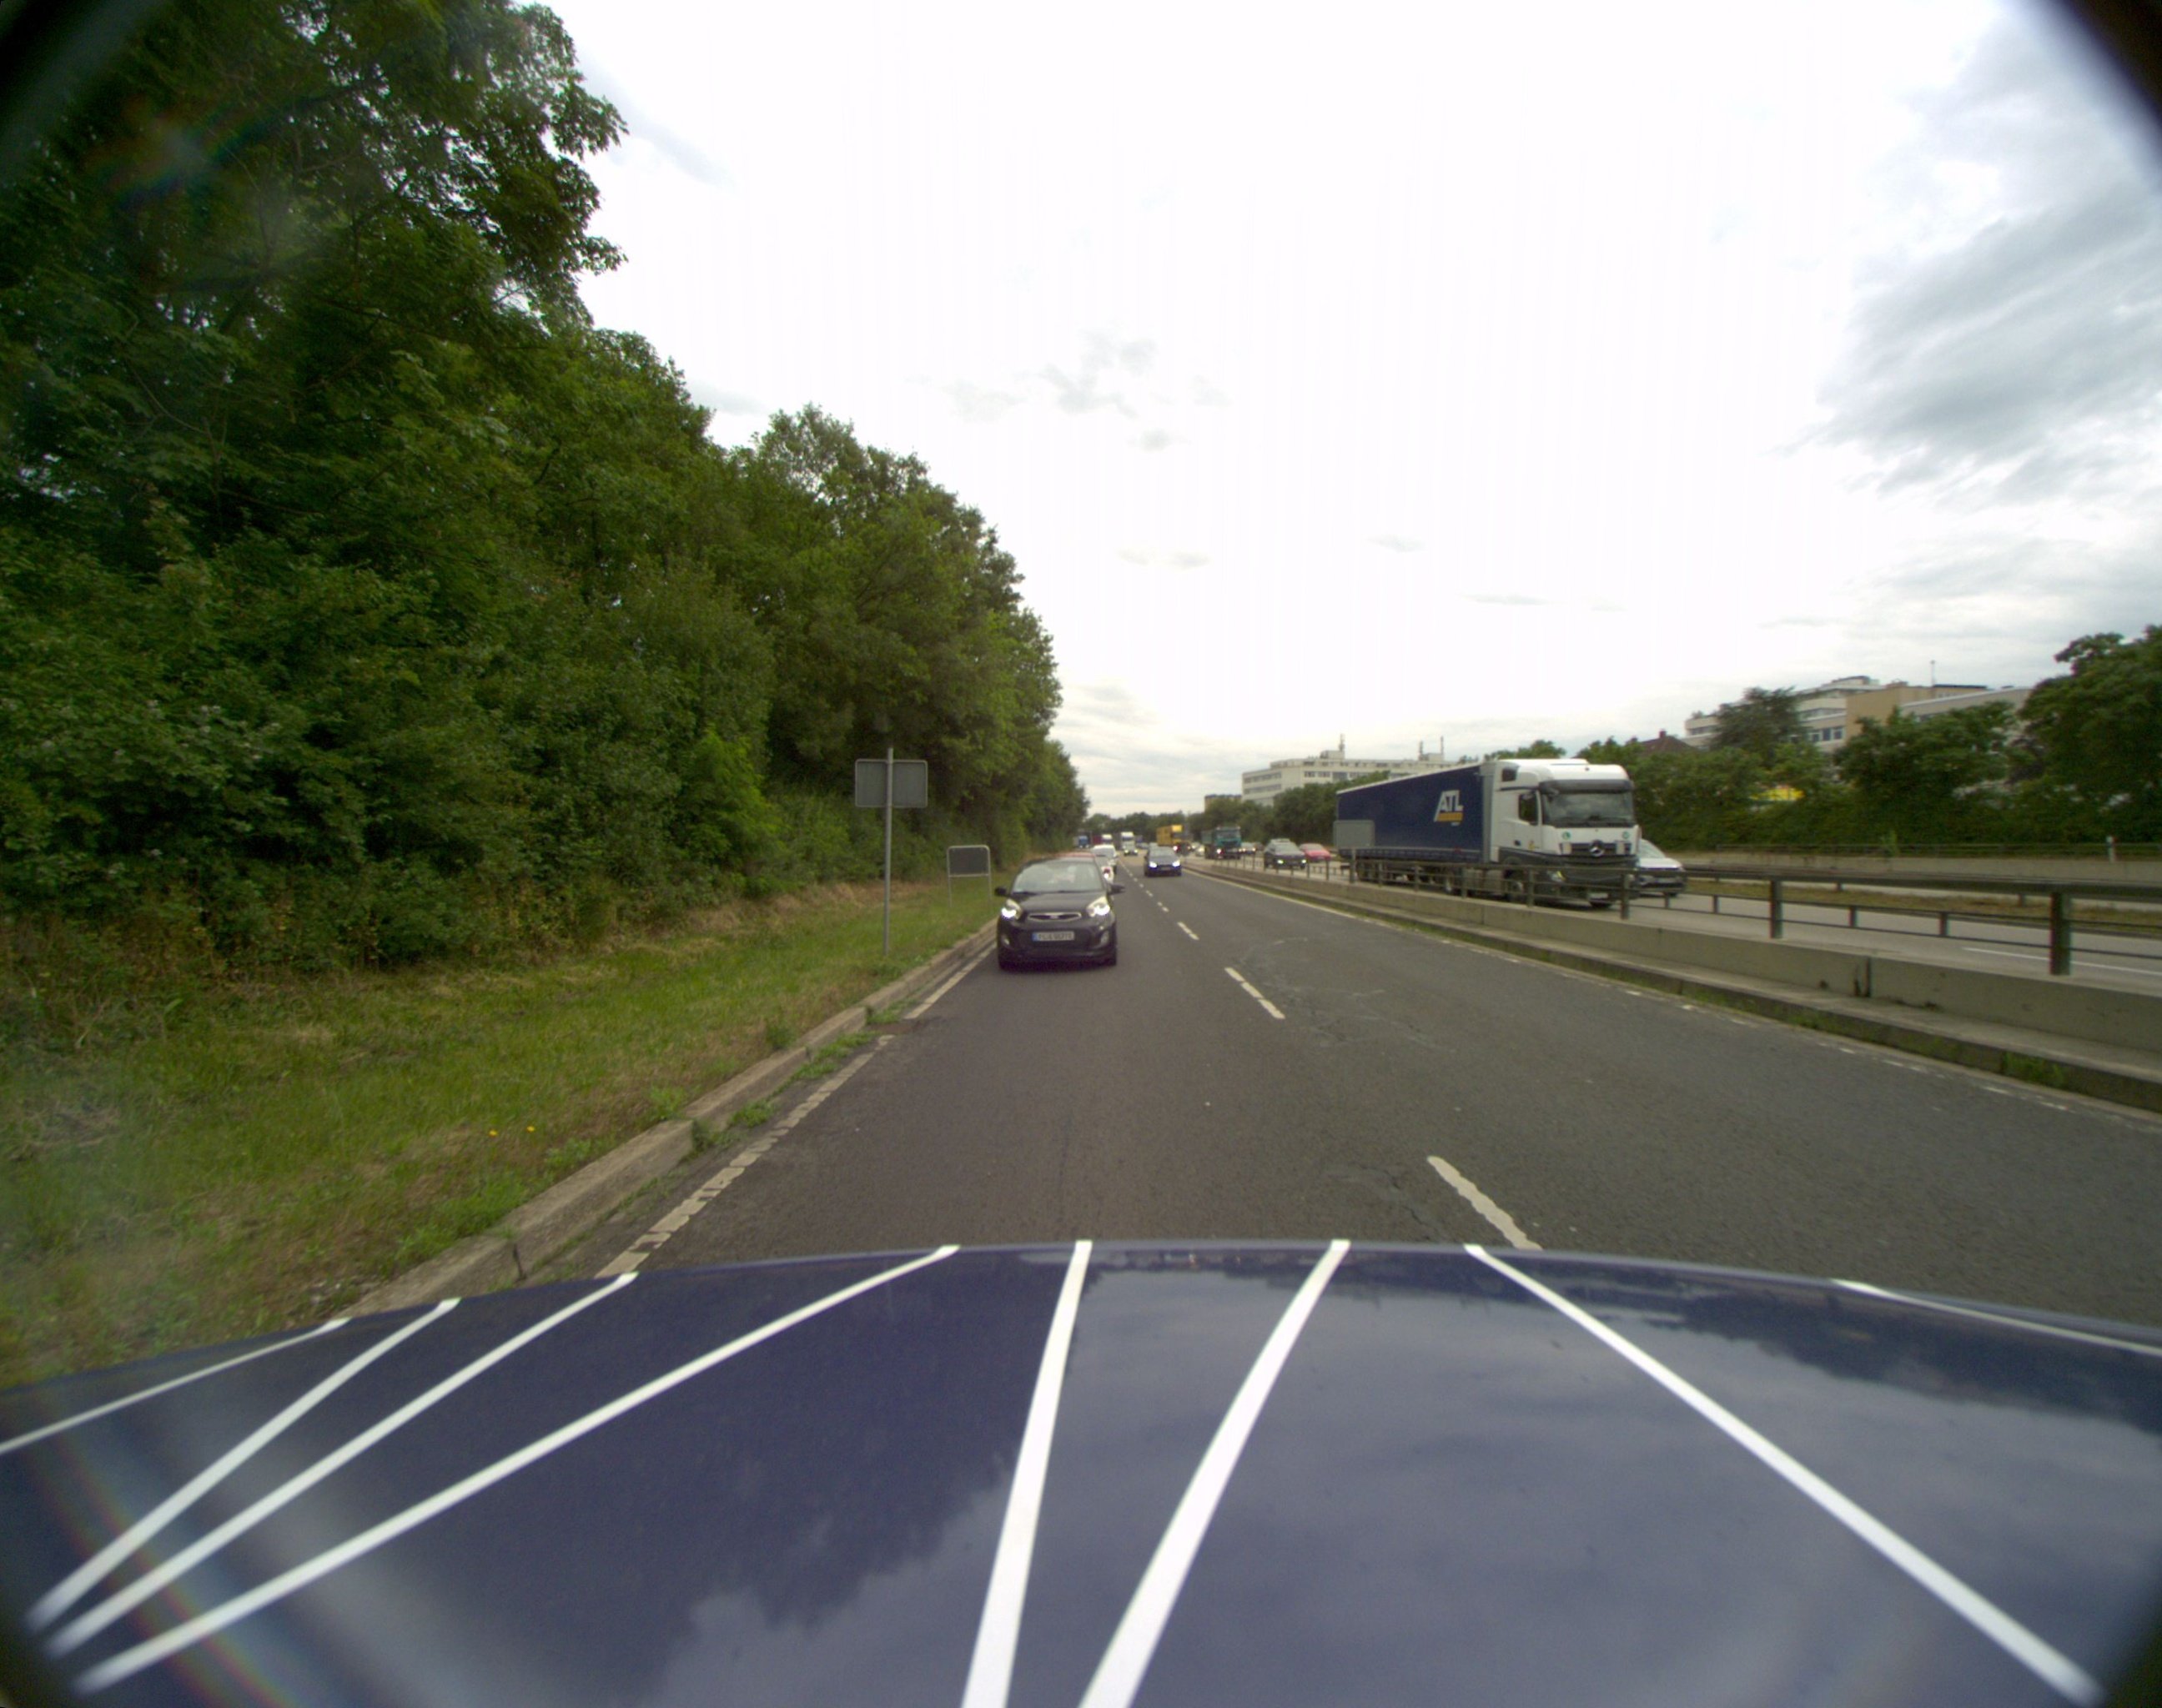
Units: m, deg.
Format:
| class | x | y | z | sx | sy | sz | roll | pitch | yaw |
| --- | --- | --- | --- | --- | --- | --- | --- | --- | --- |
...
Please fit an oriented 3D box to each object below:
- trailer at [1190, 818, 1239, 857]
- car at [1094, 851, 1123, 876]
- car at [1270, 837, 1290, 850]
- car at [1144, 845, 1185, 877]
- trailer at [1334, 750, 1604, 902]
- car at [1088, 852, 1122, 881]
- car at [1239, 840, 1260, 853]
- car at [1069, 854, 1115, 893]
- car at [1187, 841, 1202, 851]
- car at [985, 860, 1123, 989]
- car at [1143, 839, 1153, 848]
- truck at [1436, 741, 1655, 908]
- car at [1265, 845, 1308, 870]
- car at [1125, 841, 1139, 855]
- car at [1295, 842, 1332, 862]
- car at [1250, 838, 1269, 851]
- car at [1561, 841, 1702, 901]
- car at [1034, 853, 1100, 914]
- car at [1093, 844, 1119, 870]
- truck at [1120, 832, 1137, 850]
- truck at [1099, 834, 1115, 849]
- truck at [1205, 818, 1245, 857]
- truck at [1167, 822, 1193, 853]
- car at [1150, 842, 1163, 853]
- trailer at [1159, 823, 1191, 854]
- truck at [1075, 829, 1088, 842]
| class | x | y | z | sx | sy | sz | roll | pitch | yaw |
| --- | --- | --- | --- | --- | --- | --- | --- | --- | --- |
| trailer | 13.967 | -1.701 | 81.018 | 2.613 | 3.620 | 16.748 | 0 | 1 | 1 |
| car | 1.599 | 0.531 | 45.164 | 1.627 | 1.337 | 4.000 | -2 | 1 | 1 |
| car | 25.966 | -1.376 | 99.233 | 1.733 | 1.503 | 3.896 | -2 | 1 | 1 |
| car | 4.469 | 0.327 | 41.384 | 1.784 | 1.554 | 4.421 | -2 | 1 | 1 |
| trailer | 12.781 | -0.846 | 27.623 | 2.531 | 4.013 | 14.782 | 0 | 1 | 1 |
| car | 1.232 | 0.622 | 39.260 | 1.627 | 1.337 | 4.000 | -2 | 1 | 1 |
| car | 19.413 | -0.860 | 87.710 | 1.627 | 1.433 | 4.000 | -2 | 1 | 1 |
| car | 0.442 | 0.710 | 29.622 | 1.627 | 1.337 | 4.000 | -2 | 1 | 1 |
| car | 18.126 | -1.298 | 121.420 | 1.784 | 1.554 | 4.421 | -2 | 1 | 1 |
| car | -0.283 | 0.878 | 11.255 | 1.627 | 1.433 | 4.000 | -2 | 1 | 1 |
| car | 15.784 | -2.424 | 179.647 | 1.998 | 2.002 | 4.000 | 0 | 1 | 1 |
| truck | 12.638 | -0.743 | 21.407 | 2.531 | 4.014 | 6.096 | 0 | 1 | 1 |
| car | 12.721 | 0.172 | 47.311 | 1.627 | 1.433 | 4.000 | -2 | 1 | 1 |
| car | 7.101 | -0.833 | 106.269 | 1.769 | 1.786 | 4.577 | -2 | 1 | 1 |
| car | 17.492 | -0.184 | 57.253 | 1.627 | 1.433 | 4.000 | -2 | 1 | 1 |
| car | 29.224 | -1.558 | 124.335 | 1.999 | 2.002 | 3.998 | 0 | 0 | -3 |
| car | 17.087 | 0.468 | 23.827 | 1.627 | 1.660 | 3.896 | -2 | 1 | 1 |
| car | -0.317 | 0.755 | 21.464 | 1.627 | 1.433 | 4.000 | -2 | 1 | 1 |
| car | 1.771 | 0.182 | 54.842 | 1.769 | 1.786 | 4.577 | -2 | 1 | 1 |
| truck | 10.916 | -2.906 | 175.893 | 2.957 | 4.013 | 13.775 | 0 | 1 | 0 |
| truck | 7.182 | -3.390 | 210.898 | 2.532 | 4.013 | 13.768 | -1 | 1 | -6 |
| truck | 13.815 | -1.565 | 73.361 | 2.645 | 3.614 | 6.667 | 0 | 1 | 1 |
| truck | 14.023 | -2.288 | 107.896 | 2.893 | 4.319 | 6.518 | 0 | 1 | 1 |
| car | 13.488 | -1.173 | 135.454 | 1.998 | 2.002 | 4.000 | -2 | 1 | 1 |
| trailer | 14.226 | -2.389 | 117.206 | 2.897 | 4.328 | 19.920 | 0 | 1 | 1 |
| truck | 0.047 | -6.065 | 249.435 | 2.532 | 4.013 | 13.767 | -1 | 1 | -7 |
